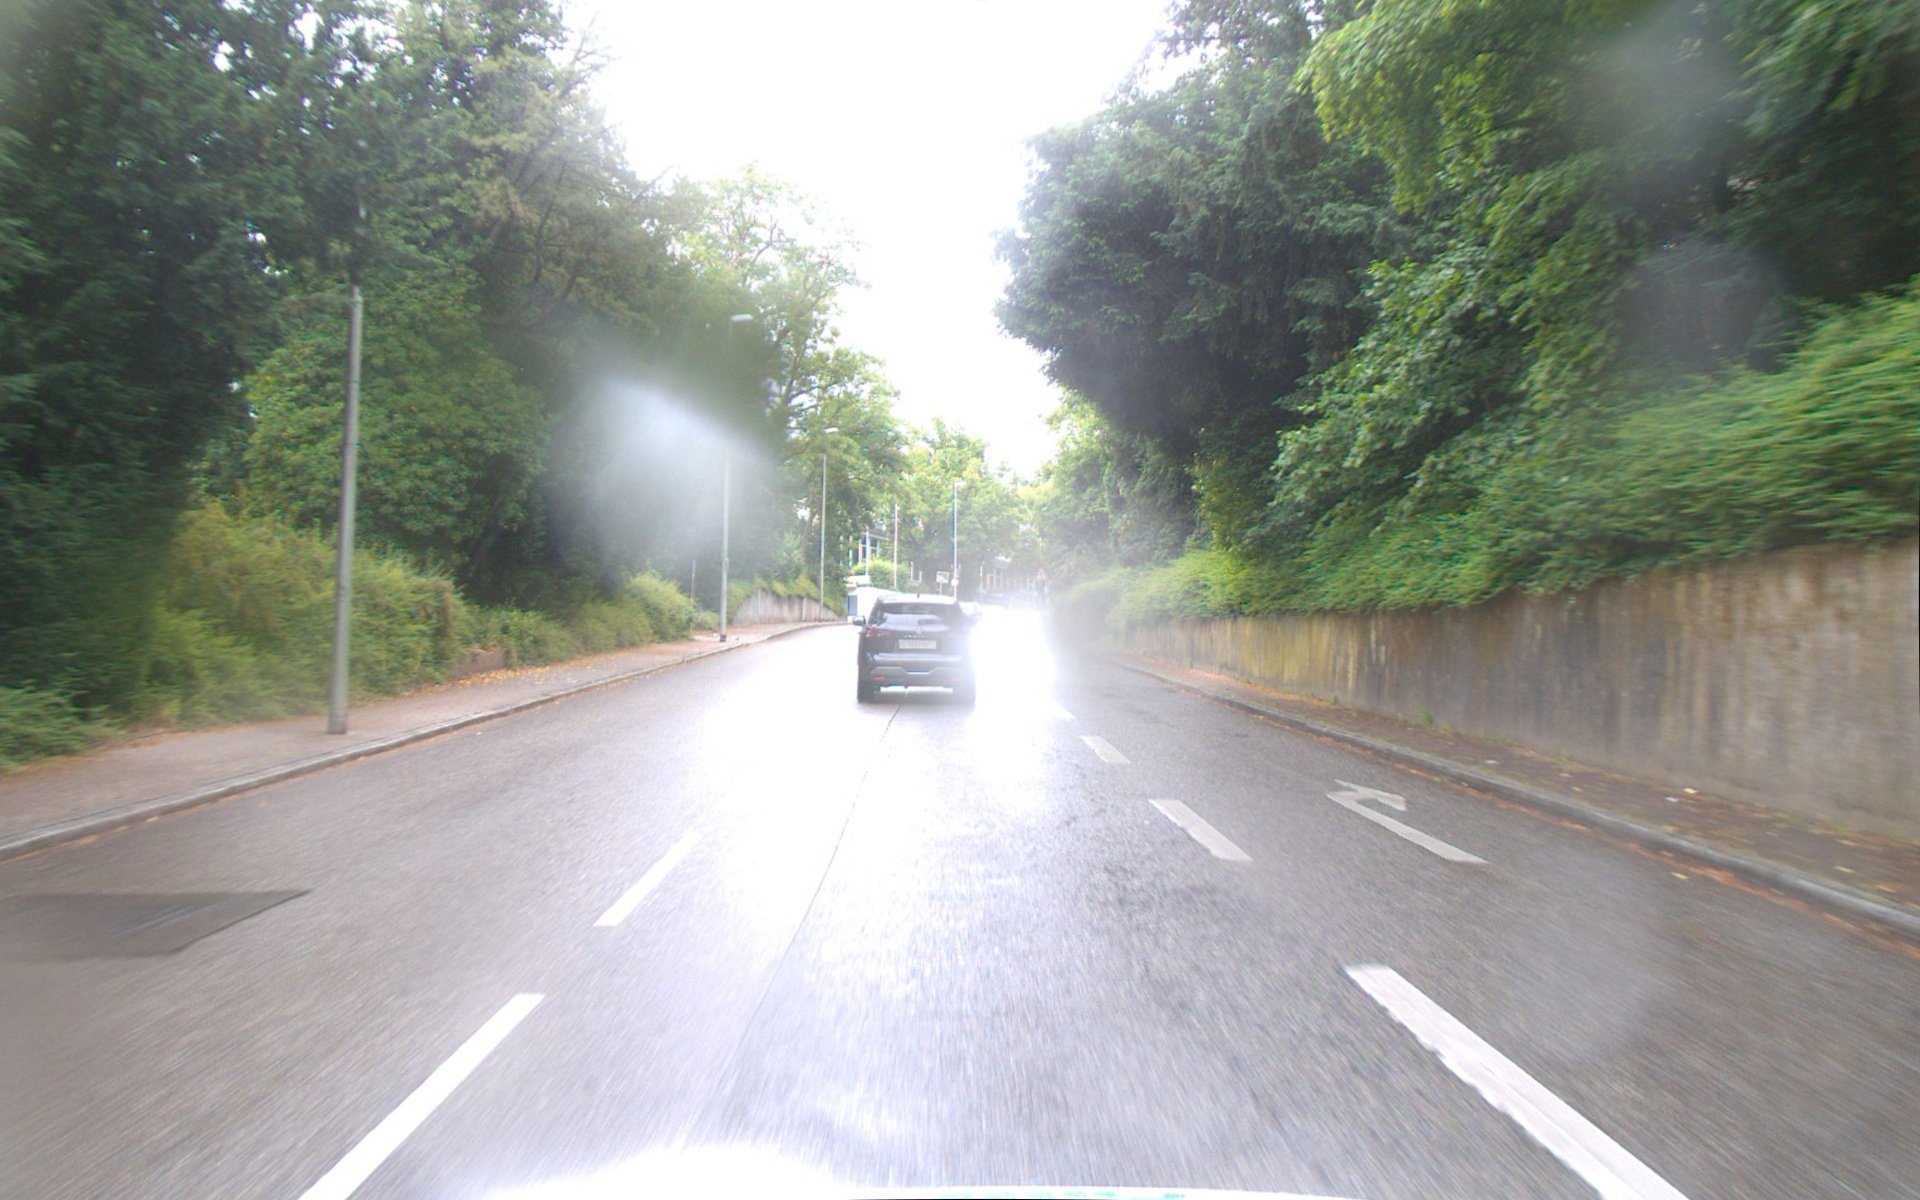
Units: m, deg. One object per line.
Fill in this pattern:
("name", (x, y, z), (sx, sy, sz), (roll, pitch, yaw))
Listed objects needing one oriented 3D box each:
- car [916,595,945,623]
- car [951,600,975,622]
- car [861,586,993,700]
("car", (-1.948, 0.583, 107.656), (1.794, 1.741, 3.998), (1, 0, -3))
("car", (0.202, 0.793, 117.677), (1.641, 1.522, 3.459), (1, 0, -2))
("car", (-0.519, 0.621, 25.948), (1.889, 1.641, 3.999), (1, 0, -1))
